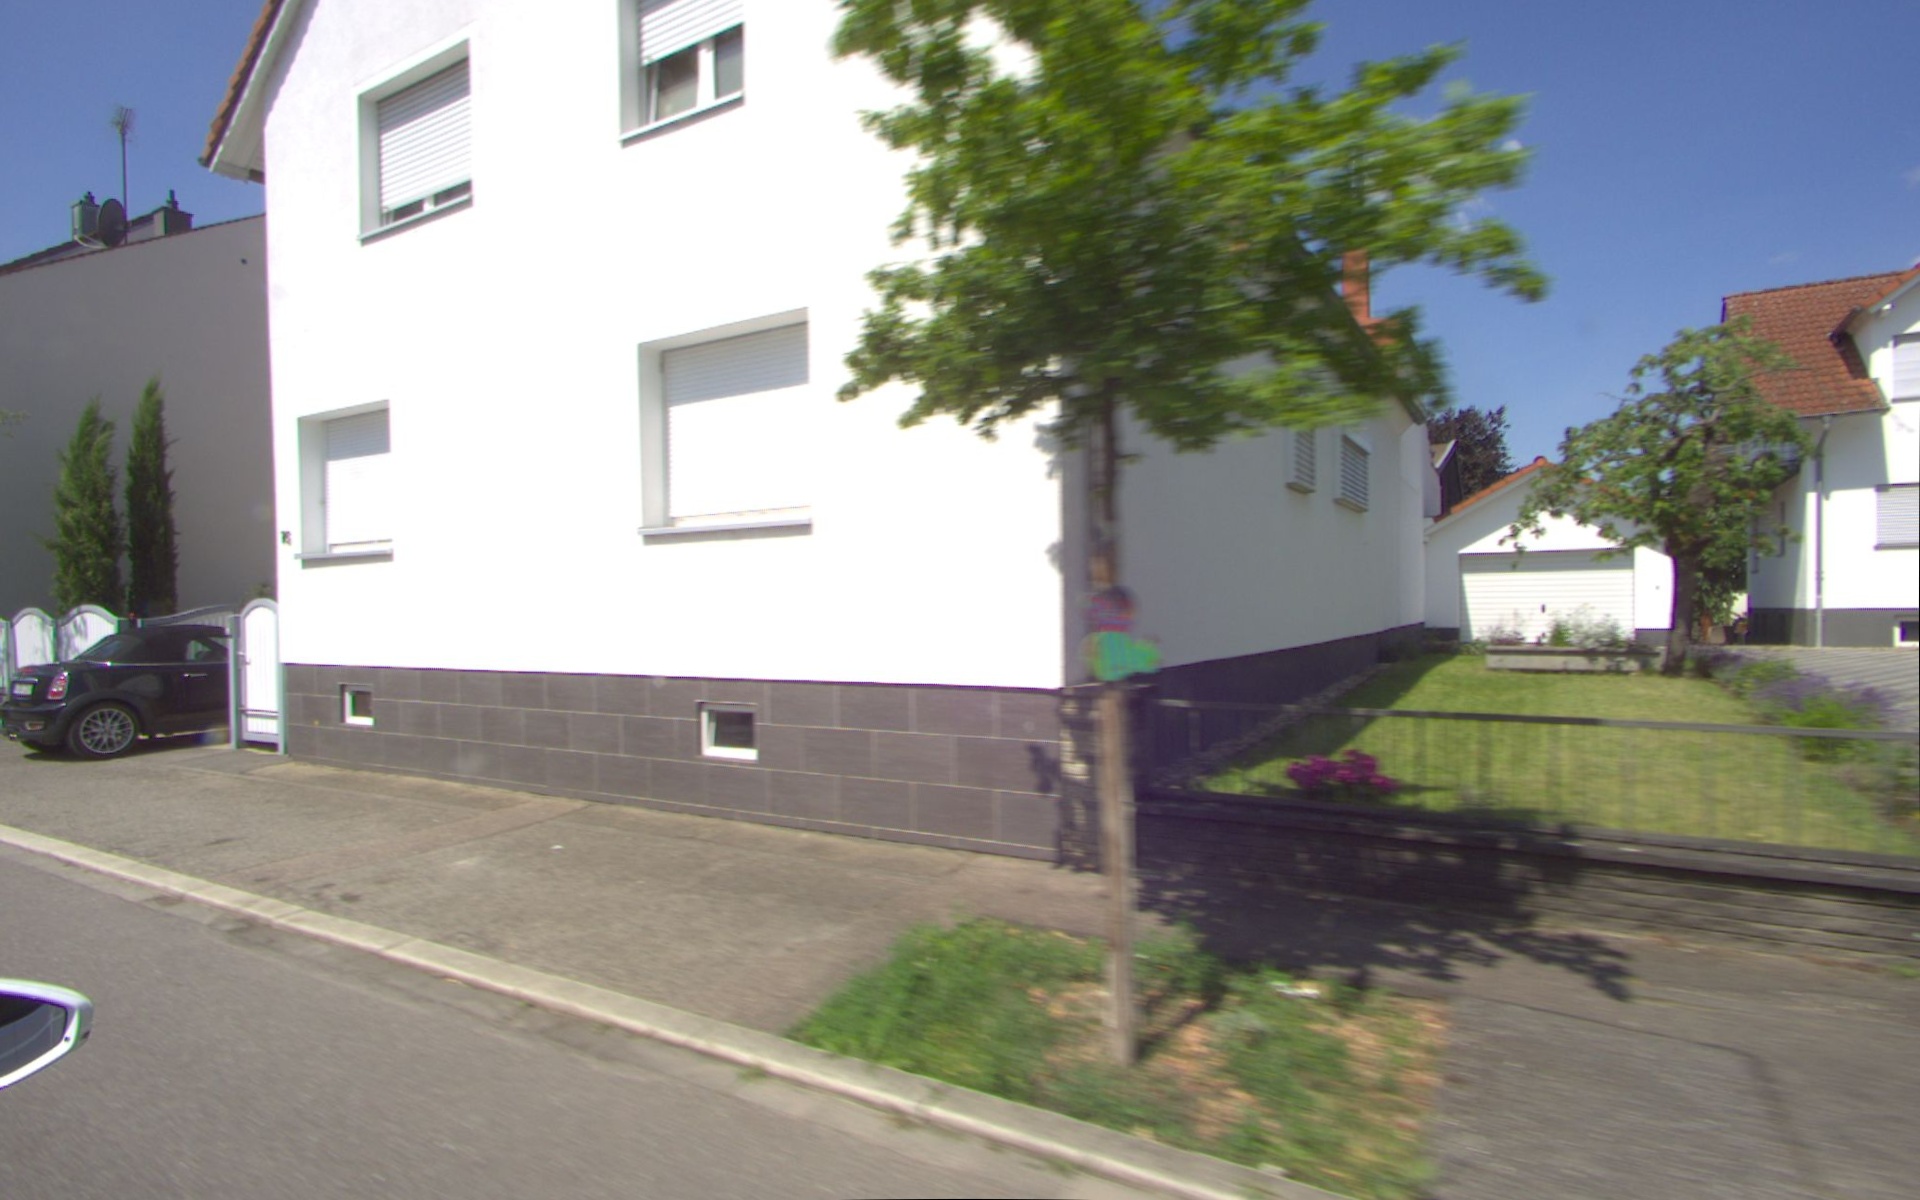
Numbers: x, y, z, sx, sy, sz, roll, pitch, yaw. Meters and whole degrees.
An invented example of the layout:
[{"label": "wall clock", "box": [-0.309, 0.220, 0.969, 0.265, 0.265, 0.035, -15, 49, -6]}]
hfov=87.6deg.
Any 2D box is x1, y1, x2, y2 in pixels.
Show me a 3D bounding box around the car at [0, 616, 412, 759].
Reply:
[{"label": "car", "box": [-9.216, 0.940, 12.432, 1.715, 1.433, 3.915, -1, 0, 31]}]
